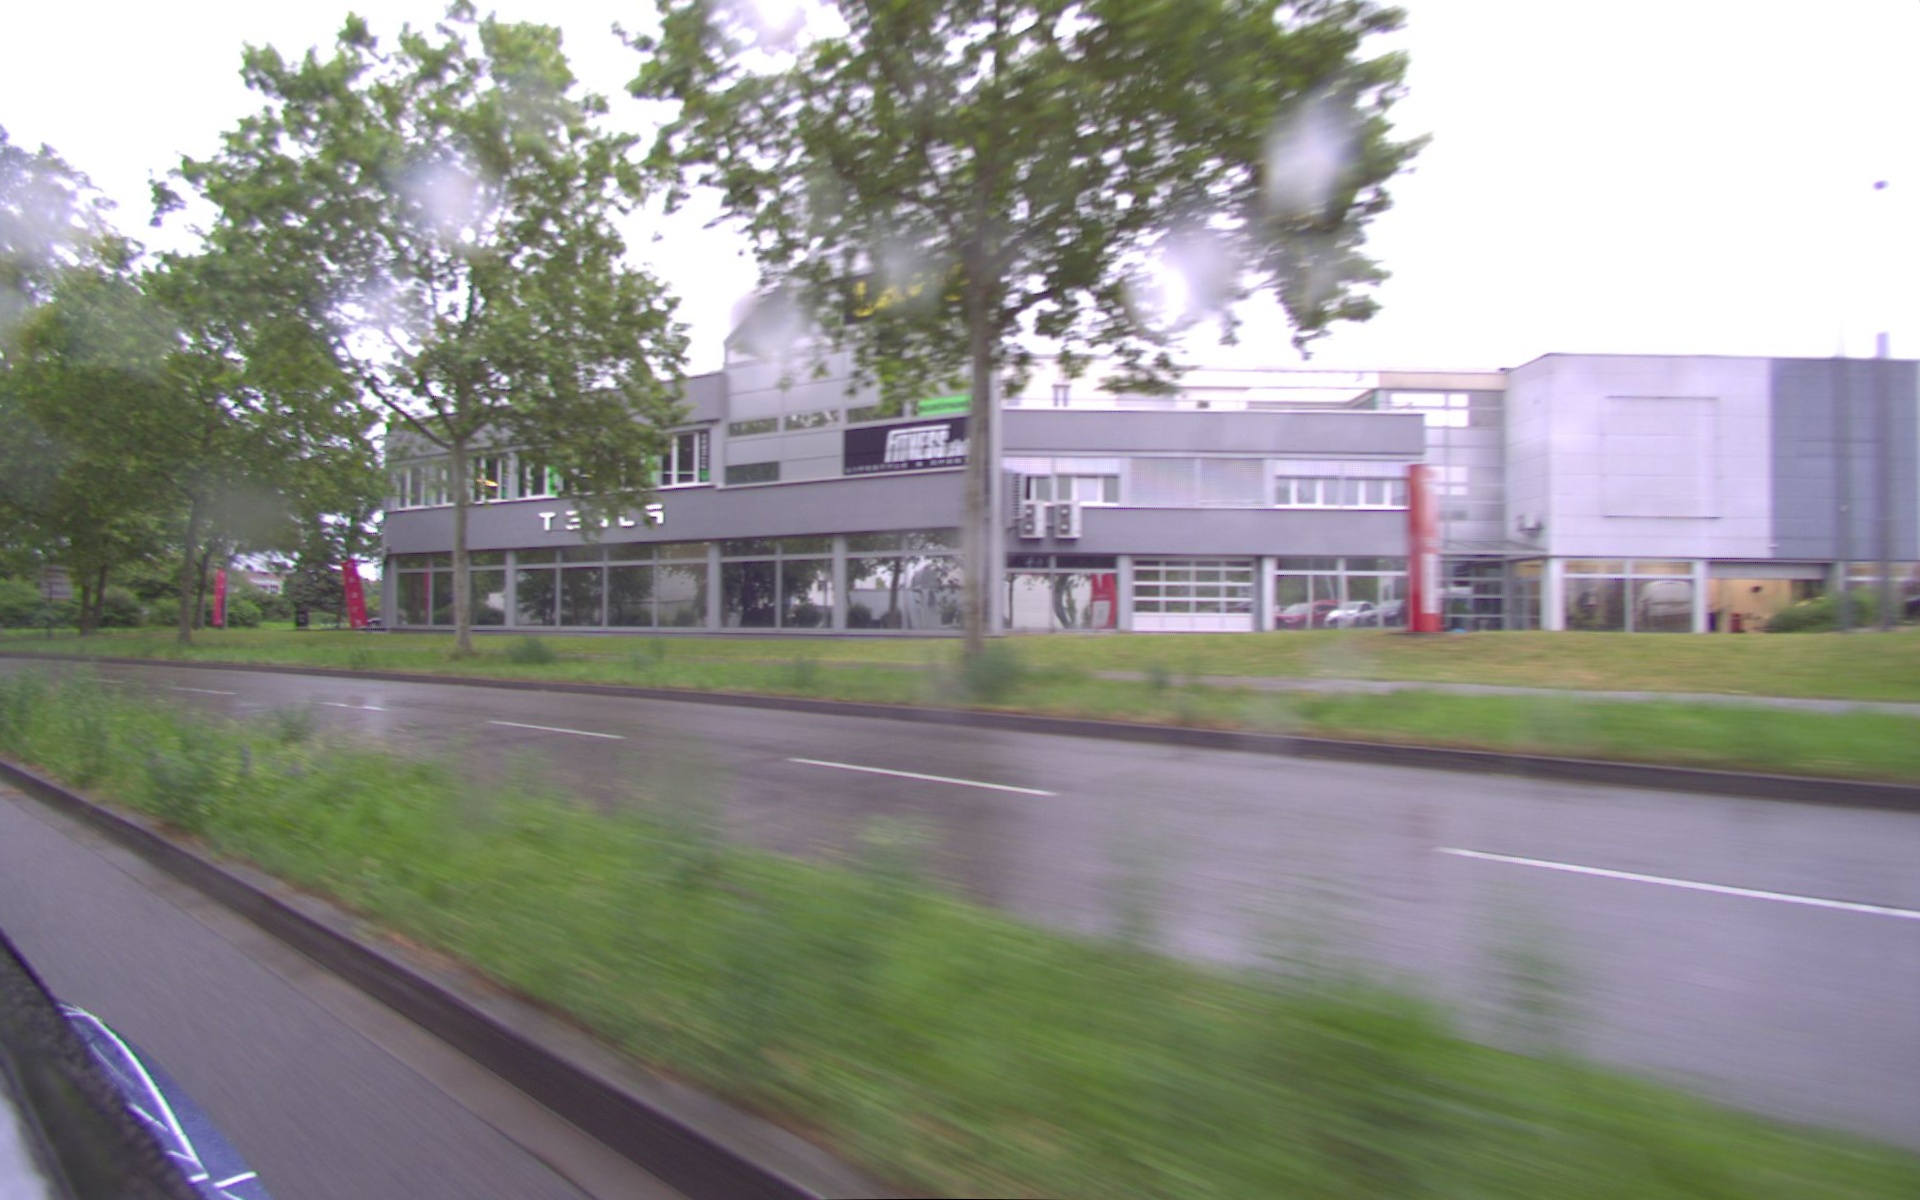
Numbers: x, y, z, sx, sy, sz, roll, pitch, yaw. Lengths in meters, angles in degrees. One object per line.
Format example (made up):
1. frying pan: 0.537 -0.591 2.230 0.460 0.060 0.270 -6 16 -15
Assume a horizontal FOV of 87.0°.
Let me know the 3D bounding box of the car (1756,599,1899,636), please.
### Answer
1. car: 35.010 0.701 40.929 4.099 1.407 1.863 -1 -1 1

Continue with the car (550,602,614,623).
1. car: -34.085 1.109 91.401 5.159 1.878 1.793 0 -1 1

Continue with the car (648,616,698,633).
1. car: -26.058 2.190 91.941 4.146 1.506 1.598 0 -1 0

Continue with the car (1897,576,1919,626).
1. car: 28.476 -0.042 27.389 1.738 1.407 4.170 -2 -1 -20

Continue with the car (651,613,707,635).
1. car: -23.145 1.969 83.449 4.134 1.827 1.823 0 -1 -34
